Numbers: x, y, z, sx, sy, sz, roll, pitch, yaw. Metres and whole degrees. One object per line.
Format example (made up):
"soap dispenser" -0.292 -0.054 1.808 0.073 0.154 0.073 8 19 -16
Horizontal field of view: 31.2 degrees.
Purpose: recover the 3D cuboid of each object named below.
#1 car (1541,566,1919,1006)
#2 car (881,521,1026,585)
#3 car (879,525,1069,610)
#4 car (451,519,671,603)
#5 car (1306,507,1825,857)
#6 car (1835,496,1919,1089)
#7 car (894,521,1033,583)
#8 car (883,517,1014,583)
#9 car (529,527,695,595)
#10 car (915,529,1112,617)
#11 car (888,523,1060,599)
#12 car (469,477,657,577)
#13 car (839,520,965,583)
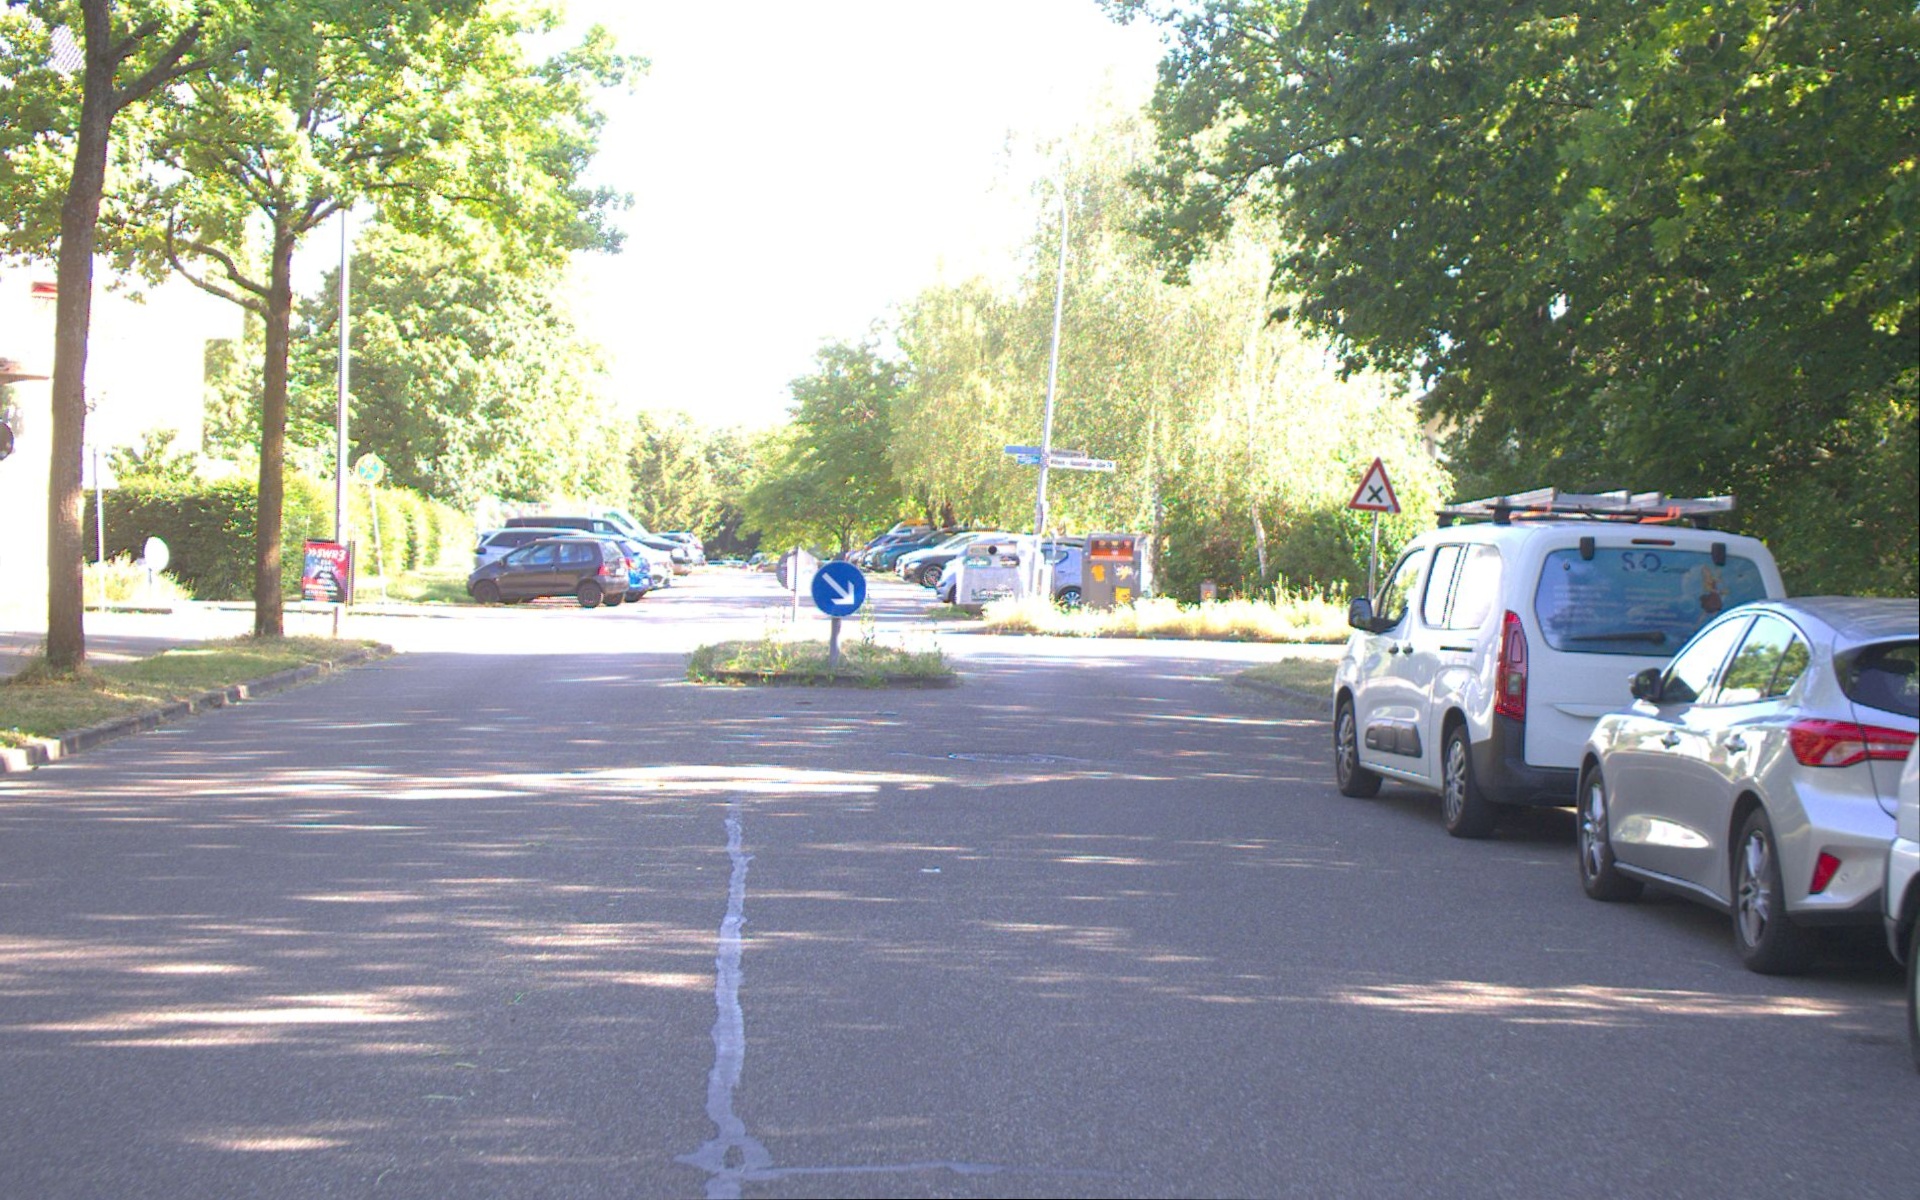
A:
"car" 3.748 0.674 14.375 1.691 1.507 4.207 3 1 -2
"car" -0.164 -1.295 95.258 3.839 1.571 1.688 3 1 4
"car" 0.320 -0.690 72.654 3.839 1.571 1.688 3 1 4
"car" -8.565 -0.835 74.024 4.319 1.571 2.046 3 1 4
"car" 3.448 0.391 20.511 1.790 1.779 4.558 3 1 -6
"car" 3.743 0.628 9.248 1.623 1.767 3.669 3 1 -2
"car" 0.109 -1.378 98.400 3.839 1.571 1.688 3 1 2
"car" -0.323 -1.519 104.590 3.839 1.789 1.688 3 1 2
"car" -9.126 -1.030 90.321 4.106 1.571 1.958 3 1 0
"car" 1.104 -0.558 69.858 3.839 1.571 1.688 3 1 4
"car" 0.351 -0.912 80.464 3.839 1.571 1.688 3 1 4
"car" -11.461 -2.100 99.191 5.198 2.612 2.294 3 1 -7
"car" -1.842 -1.539 109.475 3.839 1.789 1.688 3 1 2
